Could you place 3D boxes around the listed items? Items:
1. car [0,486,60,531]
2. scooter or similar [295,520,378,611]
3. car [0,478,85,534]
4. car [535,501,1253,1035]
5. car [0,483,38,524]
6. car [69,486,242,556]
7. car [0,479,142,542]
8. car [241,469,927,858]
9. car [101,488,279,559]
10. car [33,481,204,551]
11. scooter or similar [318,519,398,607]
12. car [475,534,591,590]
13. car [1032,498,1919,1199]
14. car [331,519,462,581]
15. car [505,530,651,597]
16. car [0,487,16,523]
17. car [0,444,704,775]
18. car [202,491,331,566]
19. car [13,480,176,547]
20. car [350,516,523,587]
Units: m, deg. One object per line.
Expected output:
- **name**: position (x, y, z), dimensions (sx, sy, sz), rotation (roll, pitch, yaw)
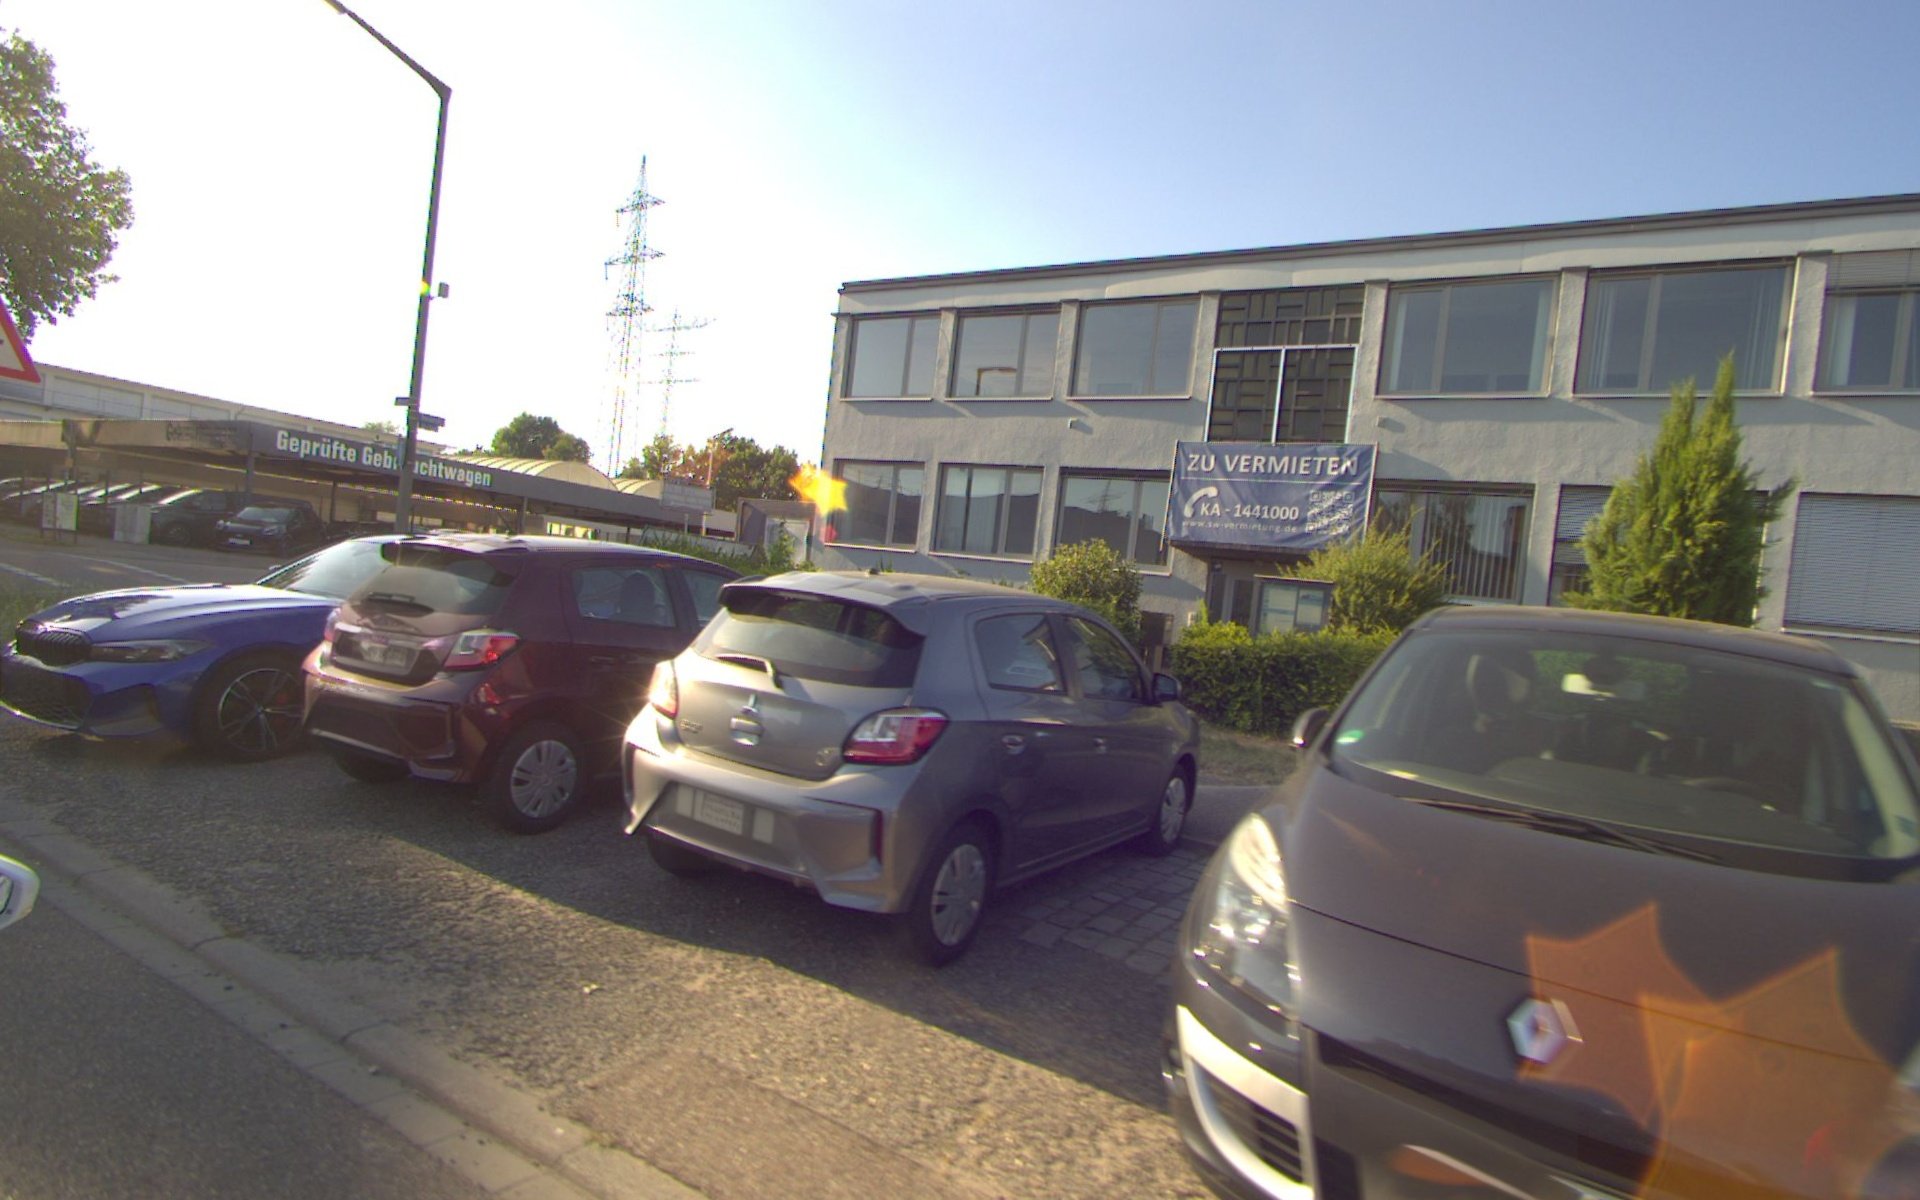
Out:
- **car**: position (-40.540, -3.998, 41.951), dimensions (1.966, 1.564, 3.995), rotation (6, -1, 30)
- **scooter or similar**: position (-9.908, -0.555, 15.981), dimensions (1.273, 1.314, 0.443), rotation (6, 0, 29)
- **car**: position (-38.369, -3.911, 40.681), dimensions (1.966, 1.854, 3.995), rotation (6, -1, 30)
- **car**: position (0.064, 0.518, 5.397), dimensions (1.771, 1.675, 3.985), rotation (6, 3, 32)
- **car**: position (-42.579, -4.386, 43.156), dimensions (1.966, 1.564, 3.995), rotation (6, -1, 30)
- **car**: position (-26.798, -2.595, 33.637), dimensions (1.966, 1.653, 3.995), rotation (6, -1, 30)
- **car**: position (-33.920, -3.367, 38.110), dimensions (1.966, 1.720, 3.995), rotation (6, -1, 30)
- **car**: position (-2.026, 0.256, 6.591), dimensions (1.713, 1.675, 3.989), rotation (6, 3, 29)
- **car**: position (-24.645, -2.421, 32.330), dimensions (1.966, 1.587, 3.995), rotation (6, -1, 30)
- **car**: position (-29.010, -2.853, 34.806), dimensions (1.966, 1.720, 3.995), rotation (6, -1, 30)
- **scooter or similar**: position (-9.937, -0.618, 16.589), dimensions (1.273, 1.314, 0.443), rotation (6, 0, 29)
- **car**: position (-16.223, -1.452, 38.219), dimensions (3.933, 1.755, 1.996), rotation (5, -1, 30)
- **car**: position (2.222, 0.747, 3.308), dimensions (1.970, 1.634, 3.981), rotation (6, 1, 38)
- **car**: position (-18.888, -1.676, 33.713), dimensions (3.932, 1.621, 1.996), rotation (6, 0, 30)
- **car**: position (-12.463, -1.155, 33.039), dimensions (1.966, 1.724, 4.115), rotation (4, -2, 29)
- **car**: position (-44.878, -4.525, 44.538), dimensions (1.966, 1.564, 3.995), rotation (6, -1, 30)
- **car**: position (-4.214, 0.030, 7.613), dimensions (1.723, 1.695, 4.527), rotation (6, 2, 28)
- **car**: position (-20.971, -2.092, 30.625), dimensions (1.908, 1.791, 3.990), rotation (4, -1, -15)
- **car**: position (-31.546, -3.112, 36.767), dimensions (1.966, 1.720, 3.995), rotation (6, -1, 30)
- **car**: position (-15.145, -1.368, 29.336), dimensions (1.966, 1.624, 3.994), rotation (4, -2, 29)
